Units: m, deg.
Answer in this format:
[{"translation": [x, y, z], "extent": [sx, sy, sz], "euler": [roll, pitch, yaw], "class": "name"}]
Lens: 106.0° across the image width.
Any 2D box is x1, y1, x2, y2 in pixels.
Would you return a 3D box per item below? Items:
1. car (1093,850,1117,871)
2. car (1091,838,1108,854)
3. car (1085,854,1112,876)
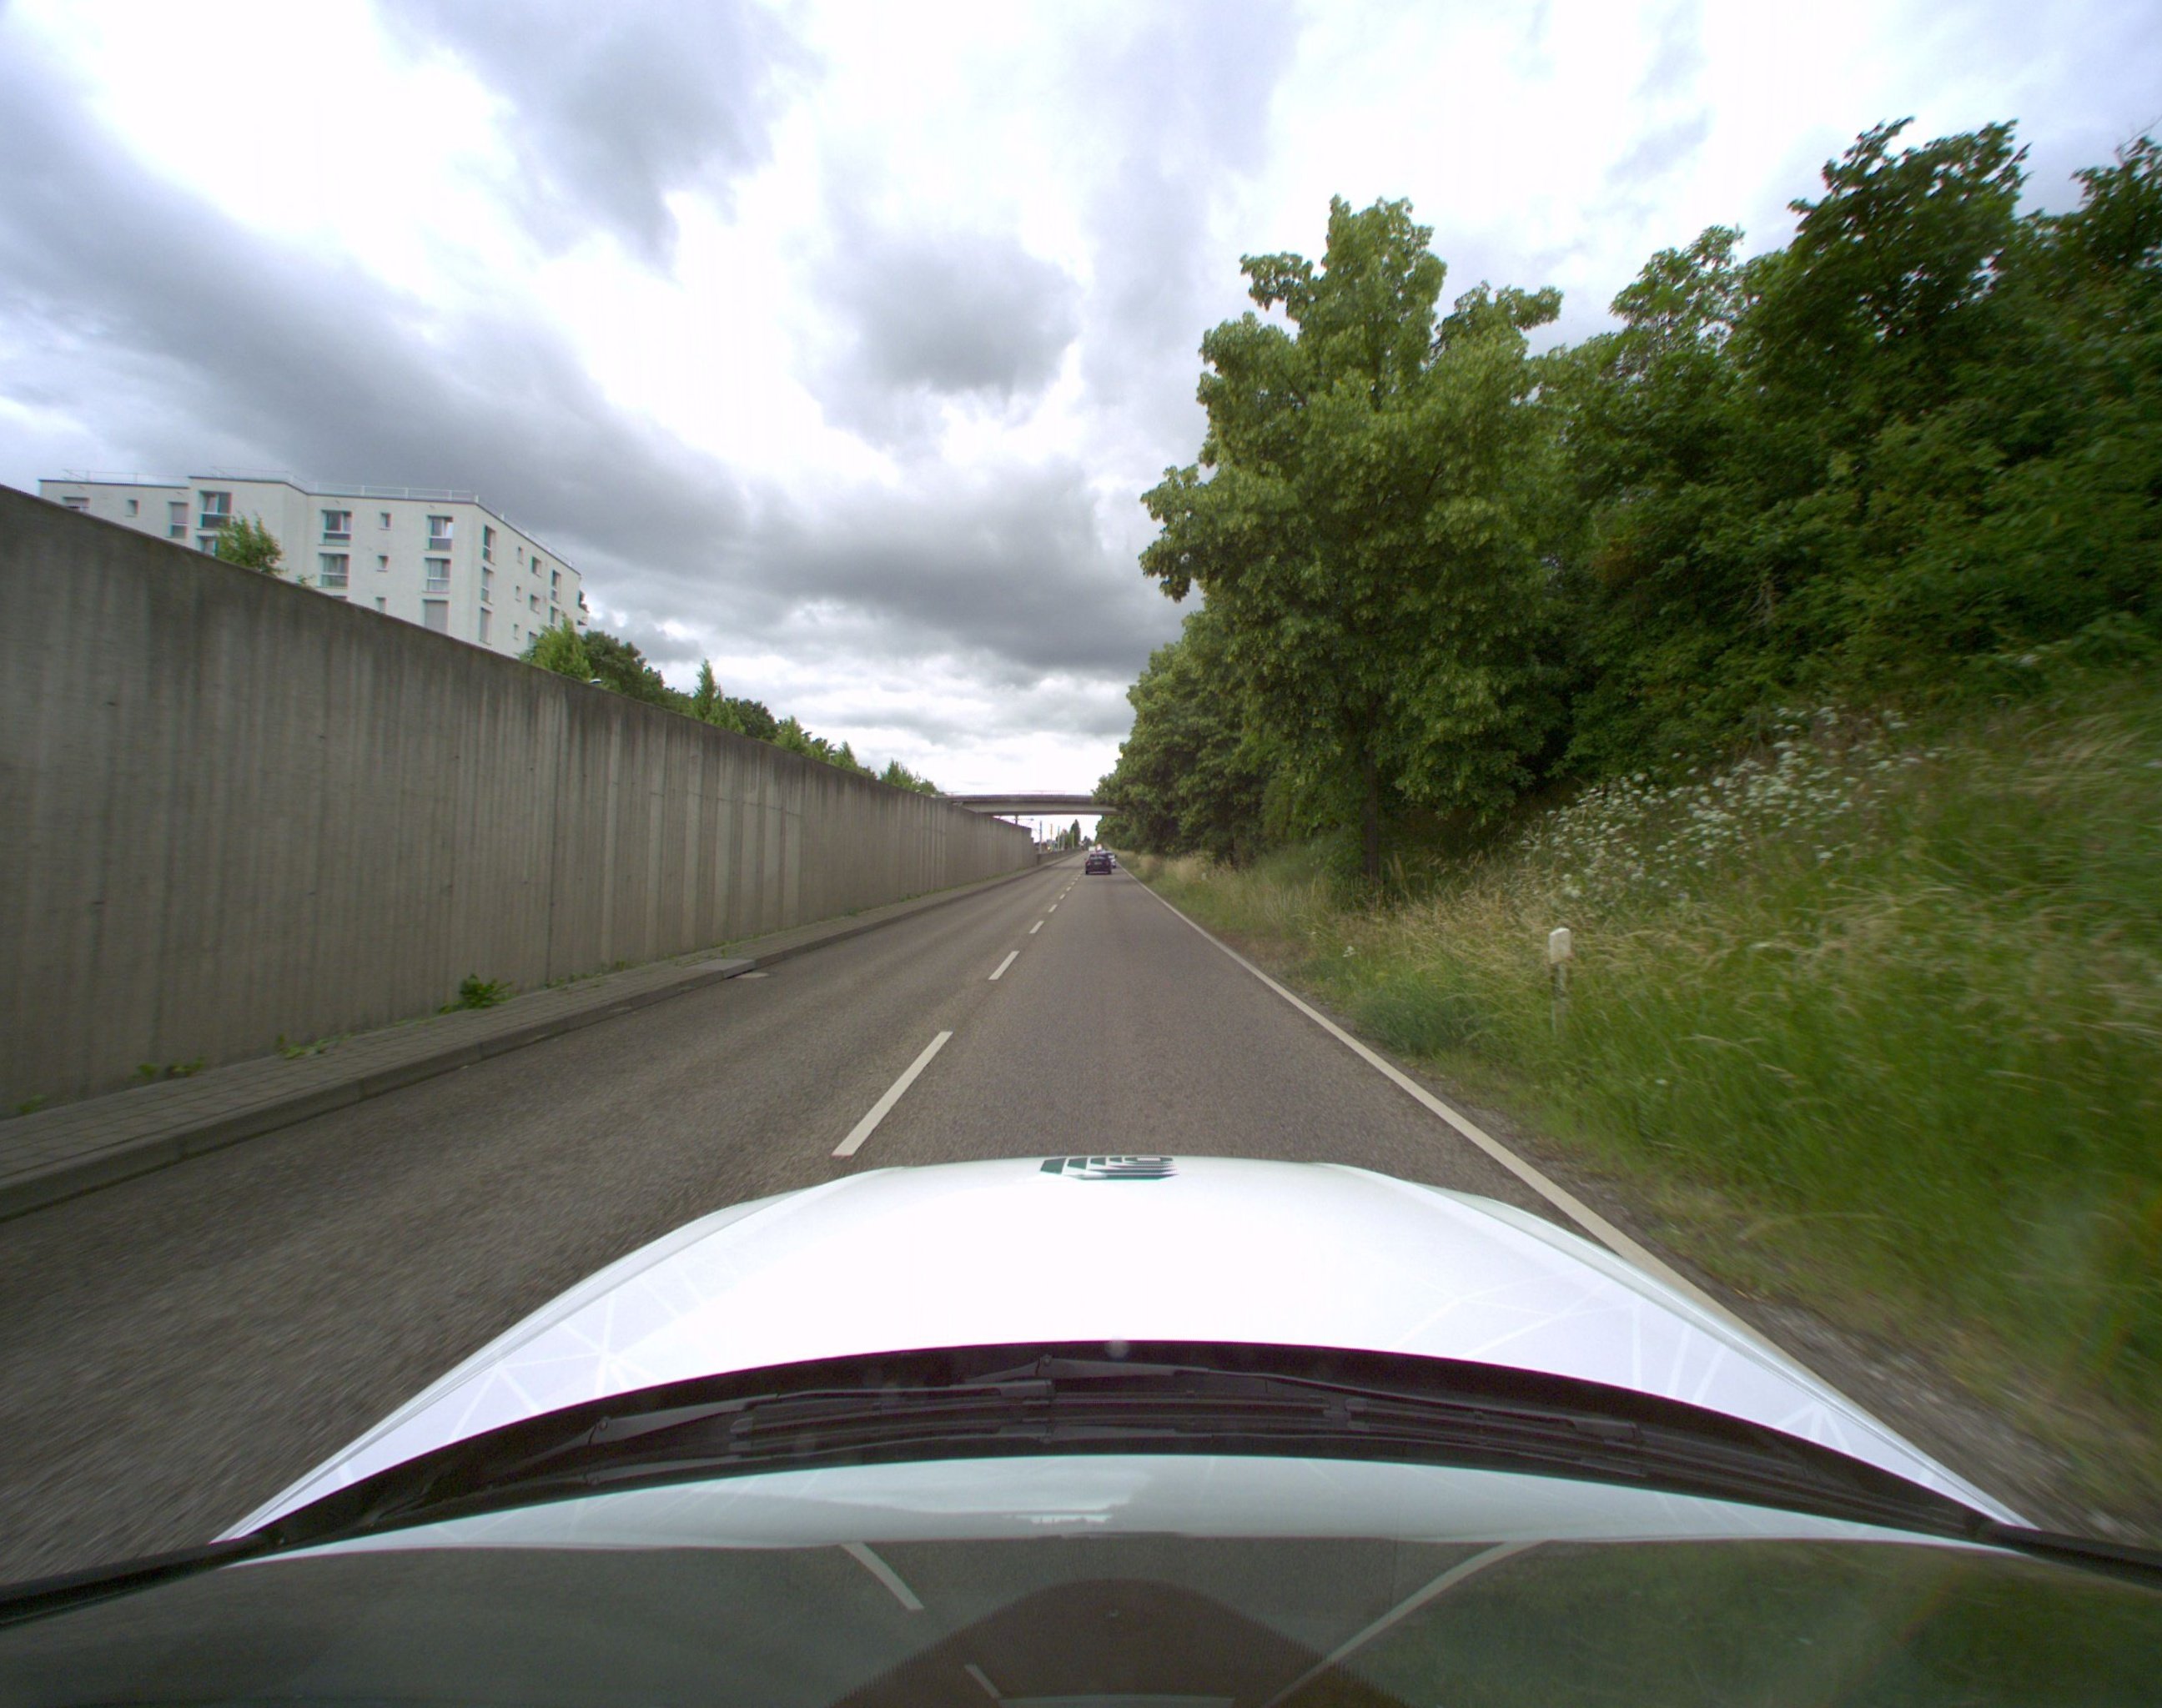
[{"translation": [2.102, 0.554, 71.178], "extent": [1.986, 1.753, 4.001], "euler": [0, 0, 1], "class": "car"}, {"translation": [2.164, -0.936, 95.641], "extent": [1.986, 1.740, 4.001], "euler": [0, -1, 1], "class": "car"}, {"translation": [1.224, 0.747, 55.696], "extent": [1.775, 1.468, 4.001], "euler": [0, 0, 1], "class": "car"}]
